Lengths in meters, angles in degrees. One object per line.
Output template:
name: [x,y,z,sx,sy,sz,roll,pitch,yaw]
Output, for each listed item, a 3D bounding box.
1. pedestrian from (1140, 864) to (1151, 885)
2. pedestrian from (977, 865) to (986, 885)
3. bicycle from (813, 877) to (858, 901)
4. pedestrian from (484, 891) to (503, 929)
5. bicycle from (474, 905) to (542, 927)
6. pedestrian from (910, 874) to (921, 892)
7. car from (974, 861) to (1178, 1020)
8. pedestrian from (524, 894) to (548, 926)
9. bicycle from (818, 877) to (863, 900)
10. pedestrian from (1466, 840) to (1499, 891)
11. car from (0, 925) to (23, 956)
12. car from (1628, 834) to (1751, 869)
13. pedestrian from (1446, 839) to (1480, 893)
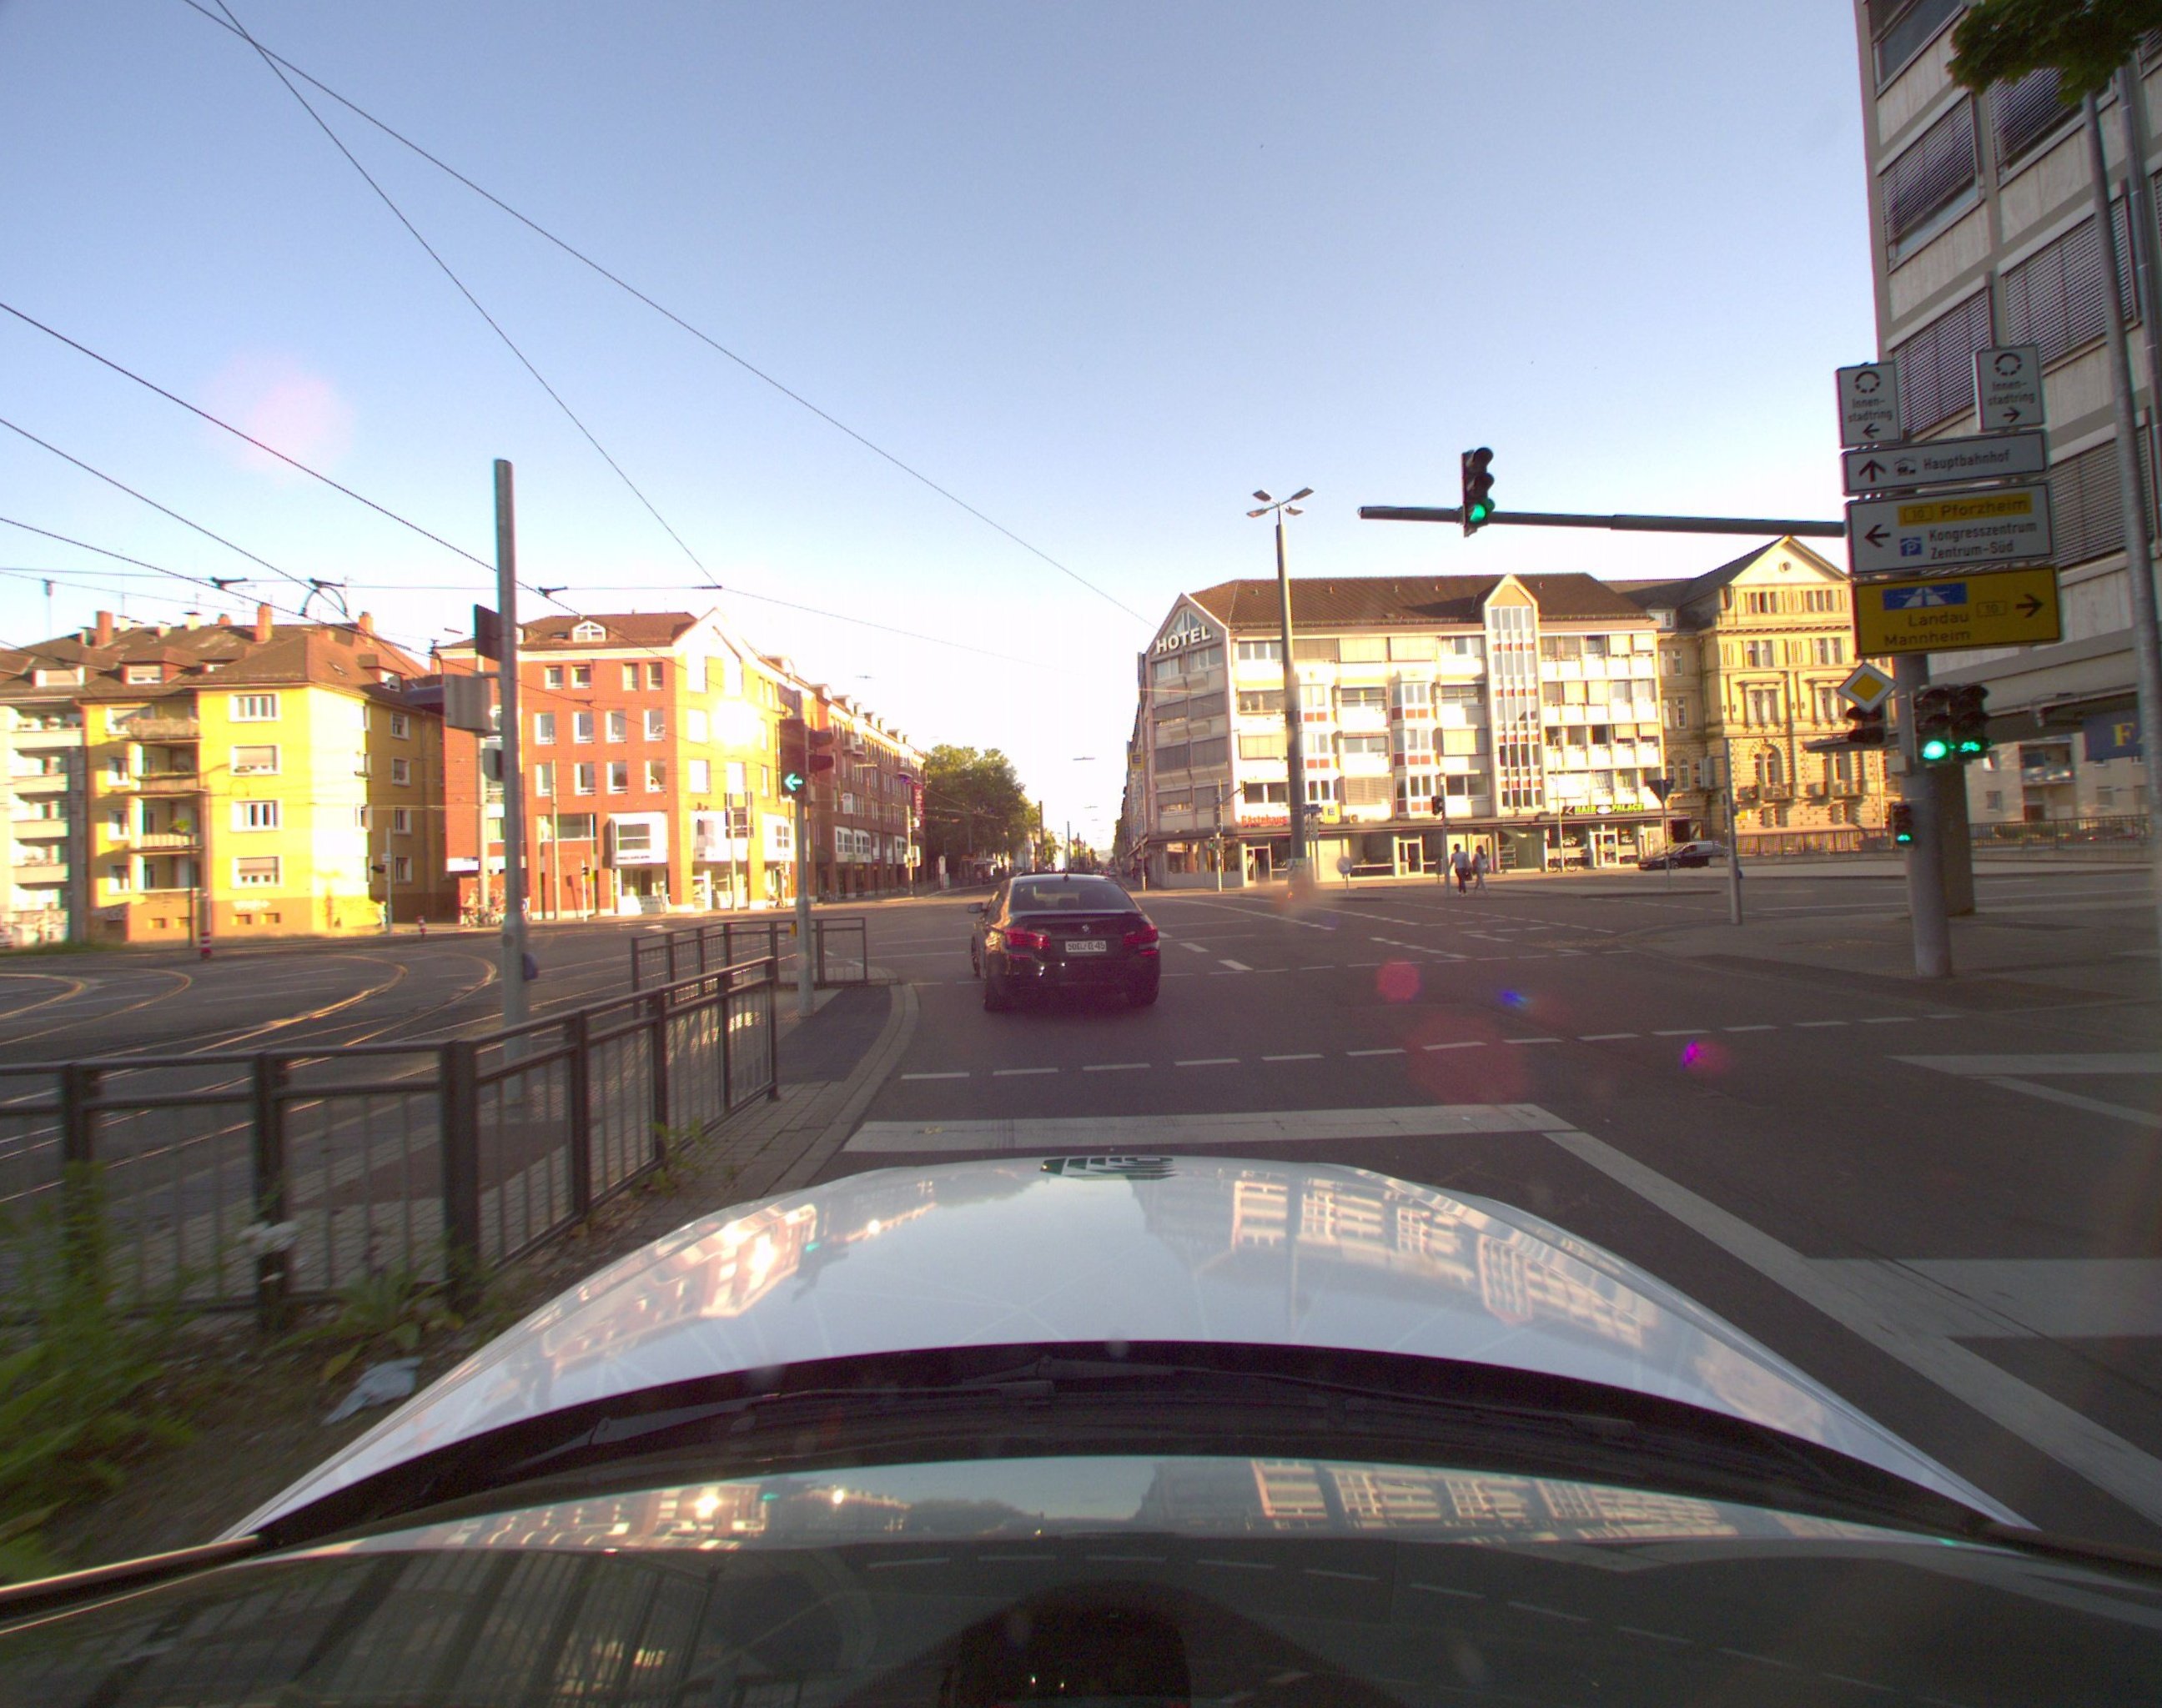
pedestrian: [4.886,1.535,61.751,0.704,1.548,0.906,-1,2,-2]
pedestrian: [-10.256,2.142,83.891,0.806,2.014,0.677,-3,-1,-2]
bicycle: [-19.930,2.827,66.172,3.285,1.726,1.069,-3,-1,1]
pedestrian: [-27.539,2.619,38.175,0.512,1.708,0.419,-3,-1,-1]
bicycle: [-32.818,3.534,46.659,3.052,1.017,0.929,-3,-1,-8]
pedestrian: [-19.532,3.385,96.053,1.082,2.014,1.083,-3,-1,-3]
car: [-0.309,0.860,9.998,1.841,1.495,4.277,0,-1,-10]
pedestrian: [-31.941,3.258,47.746,0.870,1.793,0.708,-3,-1,-10]
bicycle: [-19.882,2.873,67.340,3.286,1.726,1.069,-3,-1,0]
pedestrian: [12.769,0.362,25.894,0.696,1.582,0.831,-4,-2,37]
car: [-62.352,4.679,45.608,3.525,1.419,1.737,11,0,-4]
car: [31.367,-0.123,42.093,4.573,1.556,2.227,-3,-1,6]
pedestrian: [12.007,0.383,25.598,0.717,1.649,0.777,-4,-2,37]
